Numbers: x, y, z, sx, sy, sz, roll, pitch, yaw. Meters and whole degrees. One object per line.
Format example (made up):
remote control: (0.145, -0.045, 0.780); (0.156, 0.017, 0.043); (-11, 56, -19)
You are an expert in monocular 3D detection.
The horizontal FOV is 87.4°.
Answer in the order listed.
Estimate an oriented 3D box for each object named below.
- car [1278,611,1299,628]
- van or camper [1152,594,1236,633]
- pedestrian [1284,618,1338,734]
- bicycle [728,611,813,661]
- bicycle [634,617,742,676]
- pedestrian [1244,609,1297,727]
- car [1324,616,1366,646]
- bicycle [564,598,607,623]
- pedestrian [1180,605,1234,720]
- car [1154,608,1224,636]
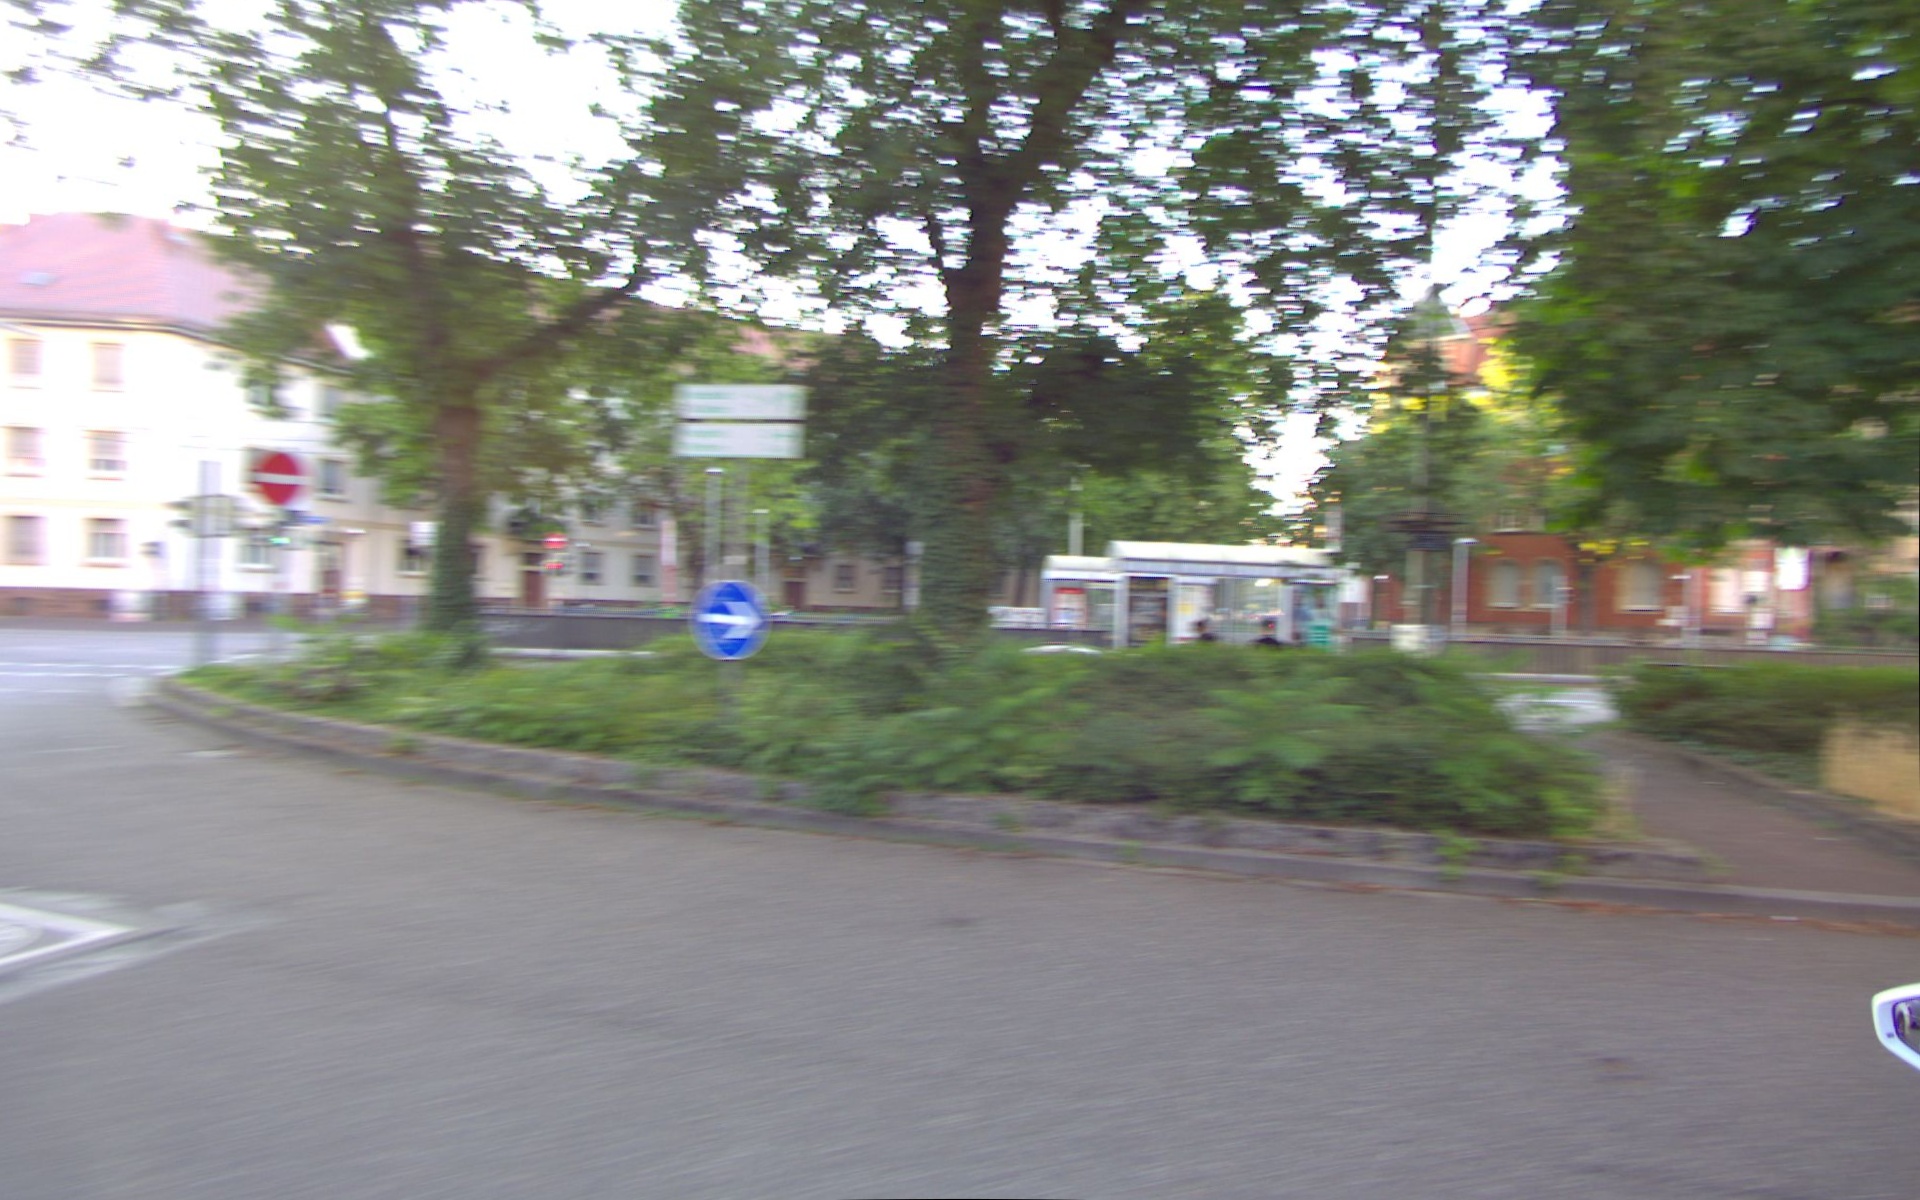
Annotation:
car: (36.913, 2.185, 112.973); (1.960, 1.726, 4.722); (3, 0, 16)
van or camper: (21.275, 1.252, 91.497); (7.240, 3.124, 2.675); (3, 0, 13)
pedestrian: (4.605, 0.981, 13.207); (0.606, 1.450, 0.655); (2, 0, 17)
bicycle: (-4.247, 0.799, 22.587); (1.820, 1.065, 0.546); (1, 0, -5)
bicycle: (-5.718, 0.978, 21.214); (2.075, 1.167, 0.686); (1, 0, -6)
pedestrian: (3.991, 0.845, 12.905); (0.606, 1.450, 0.655); (2, 0, 18)
car: (23.967, 1.887, 62.639); (1.960, 1.726, 4.722); (3, 0, 16)
bicycle: (-18.578, 0.519, 49.861); (1.903, 1.167, 0.679); (1, 0, -39)
pedestrian: (3.257, 0.797, 13.240); (0.606, 1.450, 0.655); (2, 0, 18)
car: (16.810, 1.596, 73.882); (4.866, 1.726, 2.001); (3, 0, 13)
